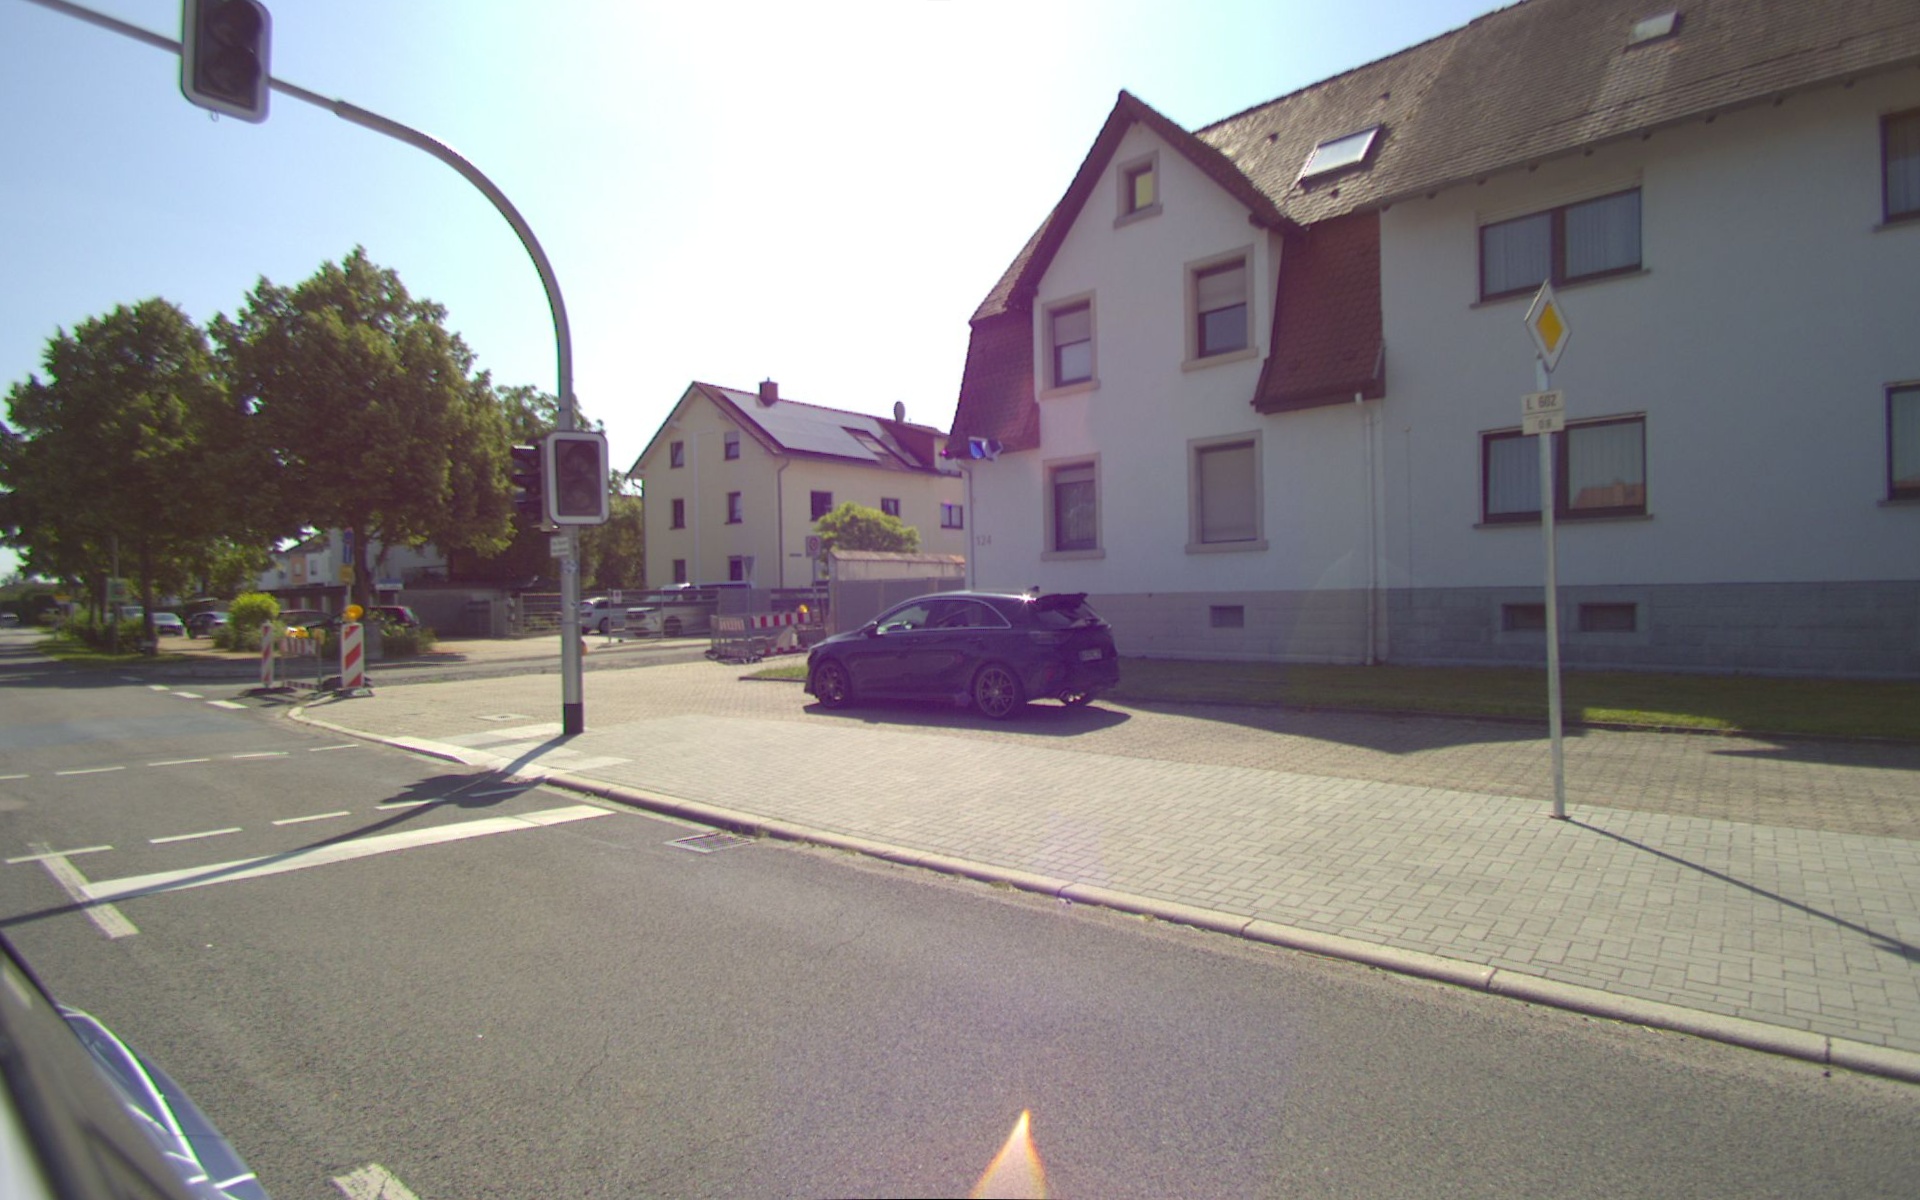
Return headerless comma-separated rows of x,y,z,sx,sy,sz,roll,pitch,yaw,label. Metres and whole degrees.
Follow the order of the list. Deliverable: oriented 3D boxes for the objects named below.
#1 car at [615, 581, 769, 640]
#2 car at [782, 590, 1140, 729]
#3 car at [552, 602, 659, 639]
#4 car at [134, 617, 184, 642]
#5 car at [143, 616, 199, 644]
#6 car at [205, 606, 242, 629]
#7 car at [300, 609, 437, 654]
-9.987,0.363,38.148,1.998,2.061,5.555,-1,-1,38,car
-0.138,0.603,12.420,4.397,1.418,1.696,0,0,42,car
-15.462,0.867,44.269,1.998,1.516,3.947,-1,-1,40,car
-51.146,1.887,64.600,4.001,1.516,1.971,-1,-1,44,car
-45.226,1.675,57.954,4.001,1.516,1.971,-1,-1,44,car
-68.893,1.650,94.624,3.998,2.029,1.973,-1,-1,41,car
-21.450,1.105,36.864,3.932,1.516,2.006,-1,-1,-17,car
